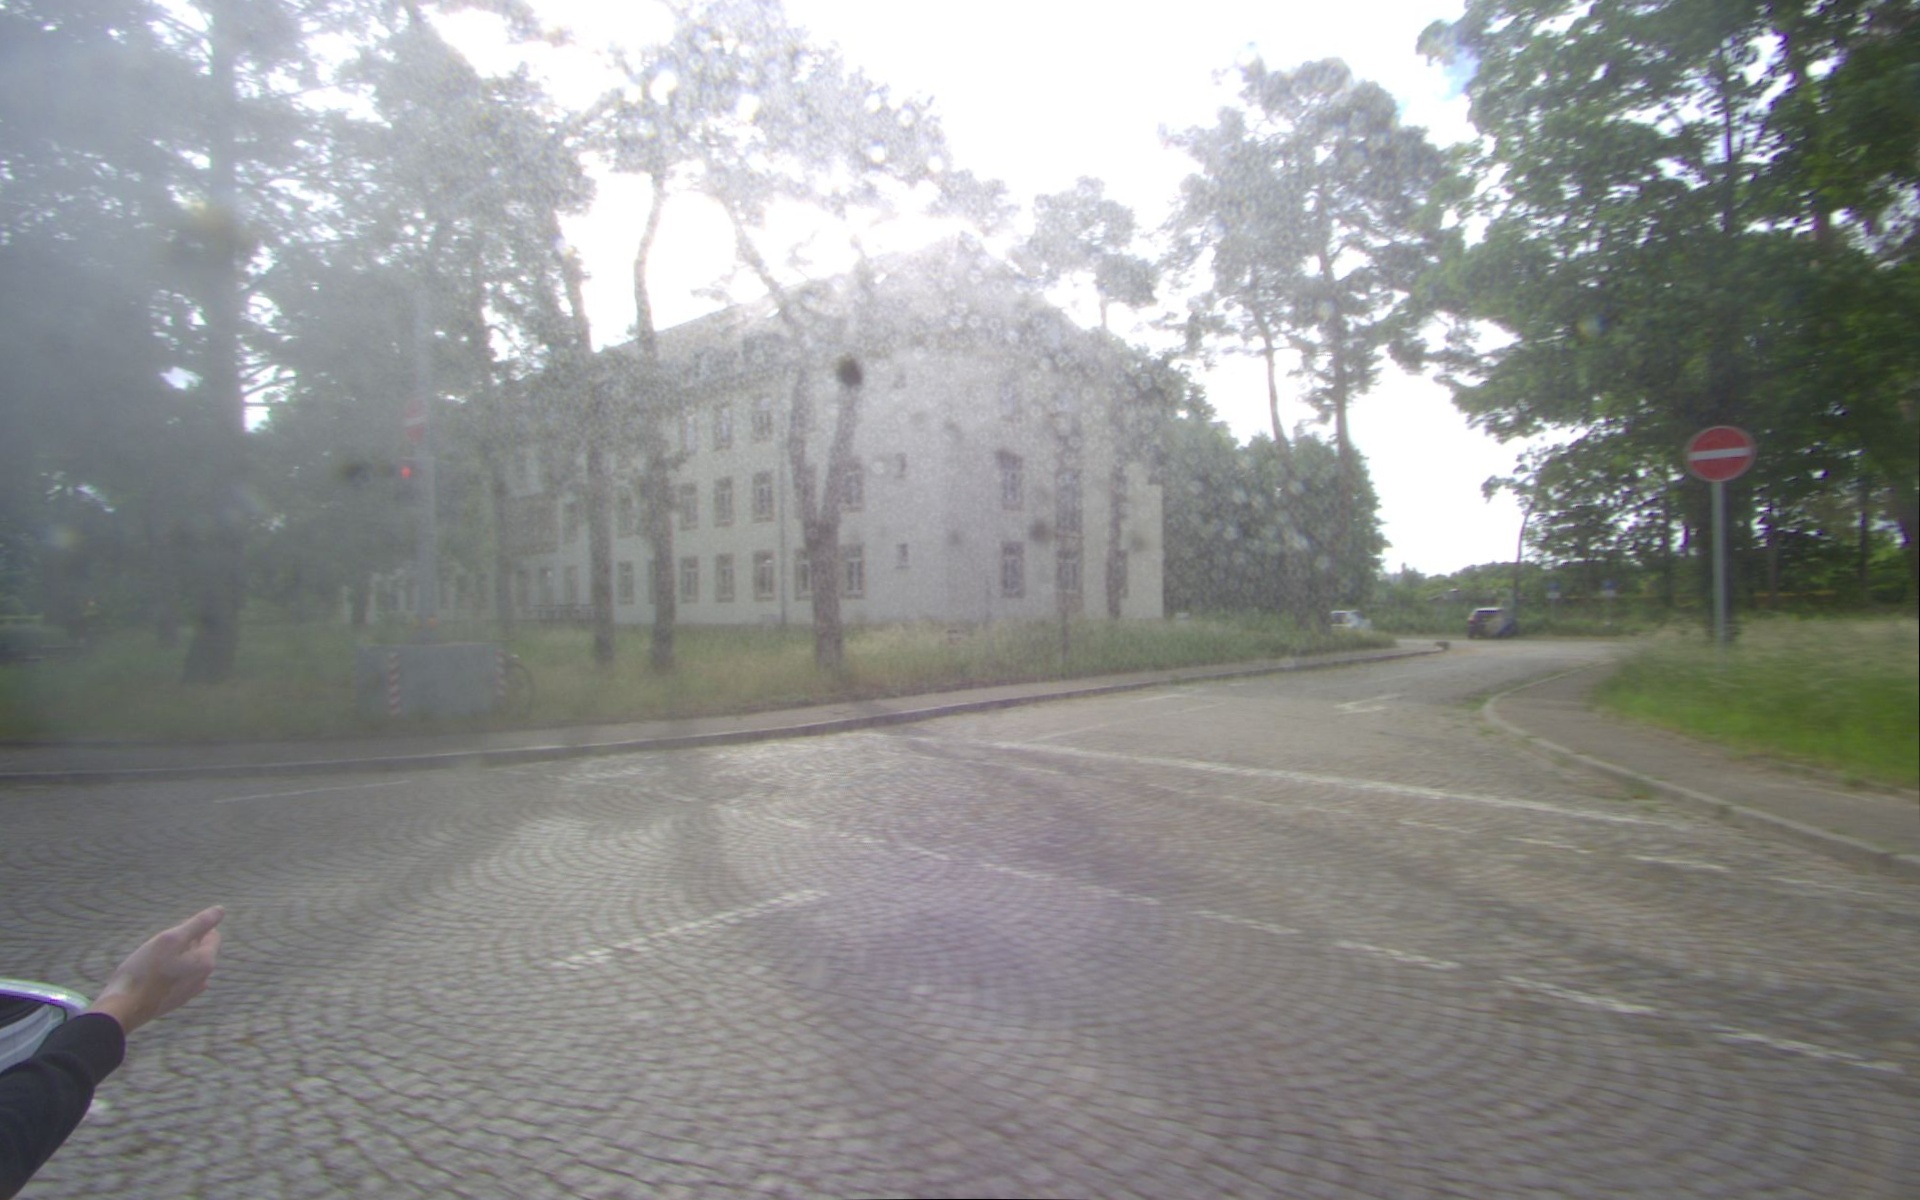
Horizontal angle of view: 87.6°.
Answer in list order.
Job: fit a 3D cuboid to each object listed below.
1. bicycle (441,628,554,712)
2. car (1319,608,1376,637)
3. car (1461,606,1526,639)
[{"bbox_3d":[-6.599,0.965,14.253,1.811,1.077,0.641,-1,3,38],"label":"bicycle"},{"bbox_3d":[21.601,1.240,55.773,1.753,1.553,3.663,-1,0,42],"label":"car"},{"bbox_3d":[26.787,1.105,50.221,1.978,1.553,3.966,-1,-1,42],"label":"car"}]
